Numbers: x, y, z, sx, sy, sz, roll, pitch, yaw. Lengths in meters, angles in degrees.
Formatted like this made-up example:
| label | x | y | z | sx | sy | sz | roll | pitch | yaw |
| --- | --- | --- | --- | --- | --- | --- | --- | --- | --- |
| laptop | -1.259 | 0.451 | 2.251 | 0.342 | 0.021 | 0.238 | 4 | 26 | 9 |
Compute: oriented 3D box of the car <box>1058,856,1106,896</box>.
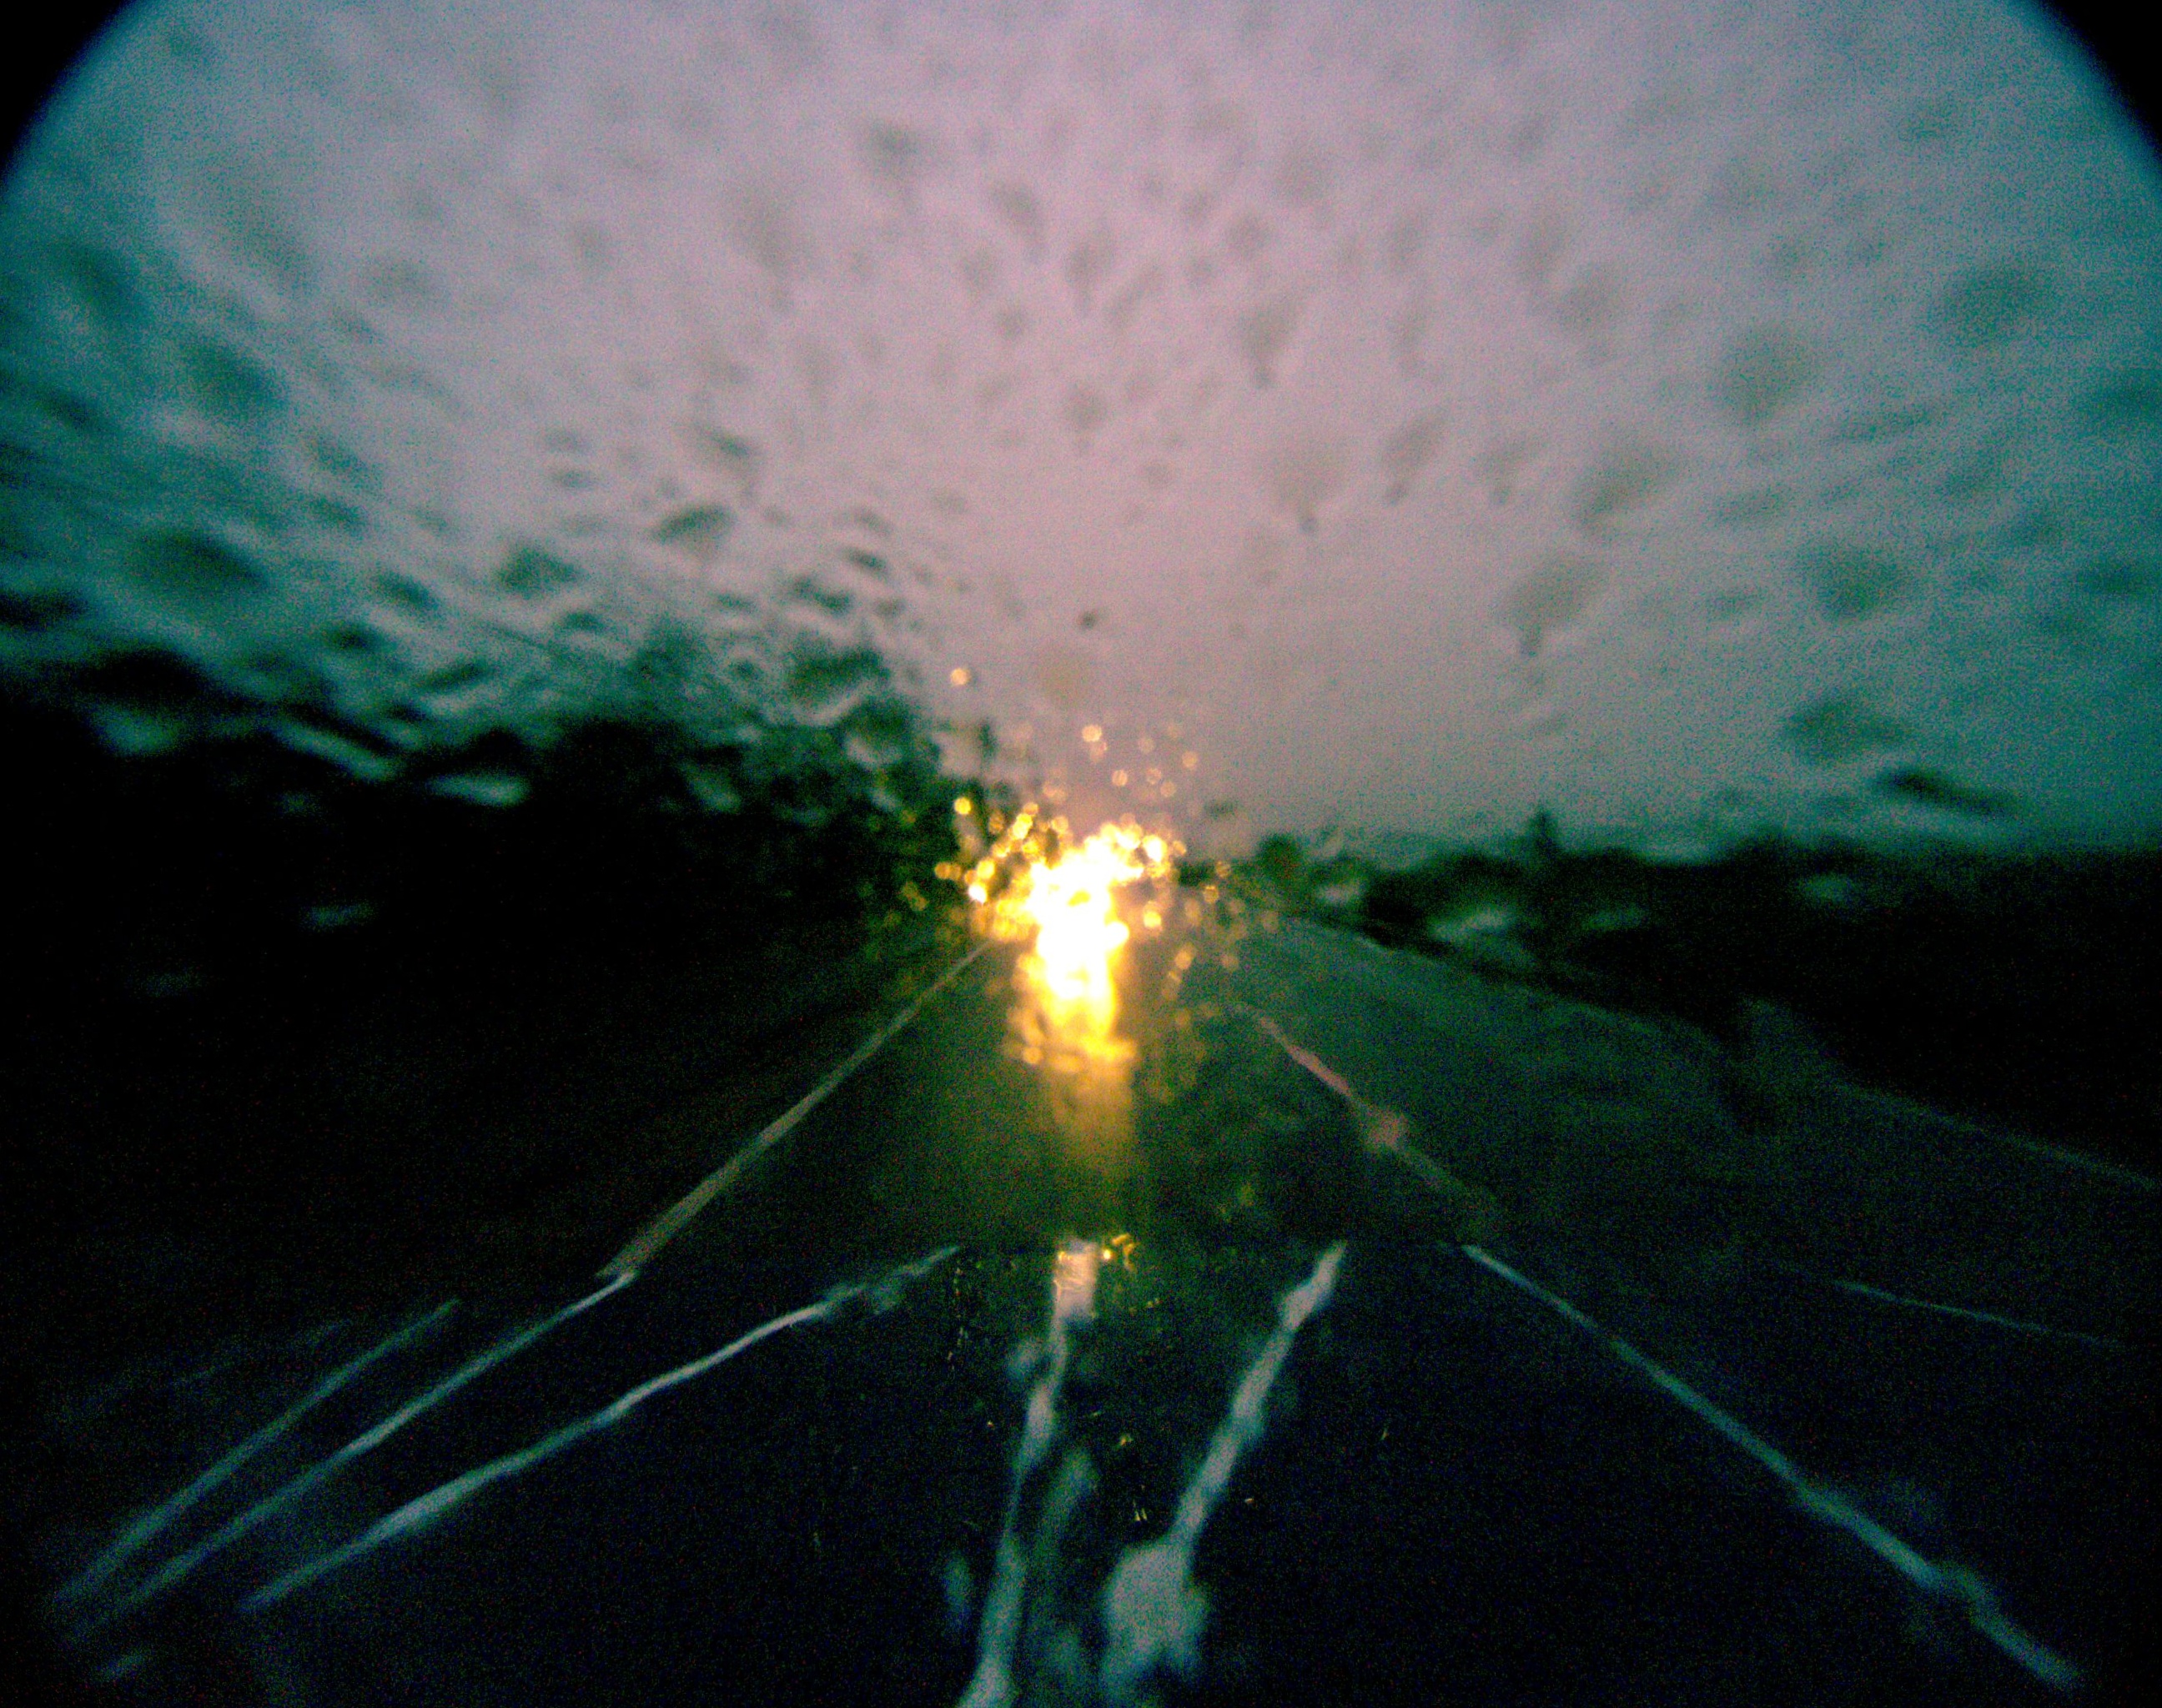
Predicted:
| label | x | y | z | sx | sy | sz | roll | pitch | yaw |
| --- | --- | --- | --- | --- | --- | --- | --- | --- | --- |
| car | 0.033 | 0.867 | 31.724 | 1.844 | 1.484 | 3.956 | -2 | 1 | 0 |

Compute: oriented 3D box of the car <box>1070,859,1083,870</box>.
| label | x | y | z | sx | sy | sz | roll | pitch | yaw |
| --- | --- | --- | --- | --- | --- | --- | --- | --- | --- |
| car | -0.732 | 1.685 | 122.790 | 1.933 | 1.740 | 4.000 | -2 | 1 | 1 |
